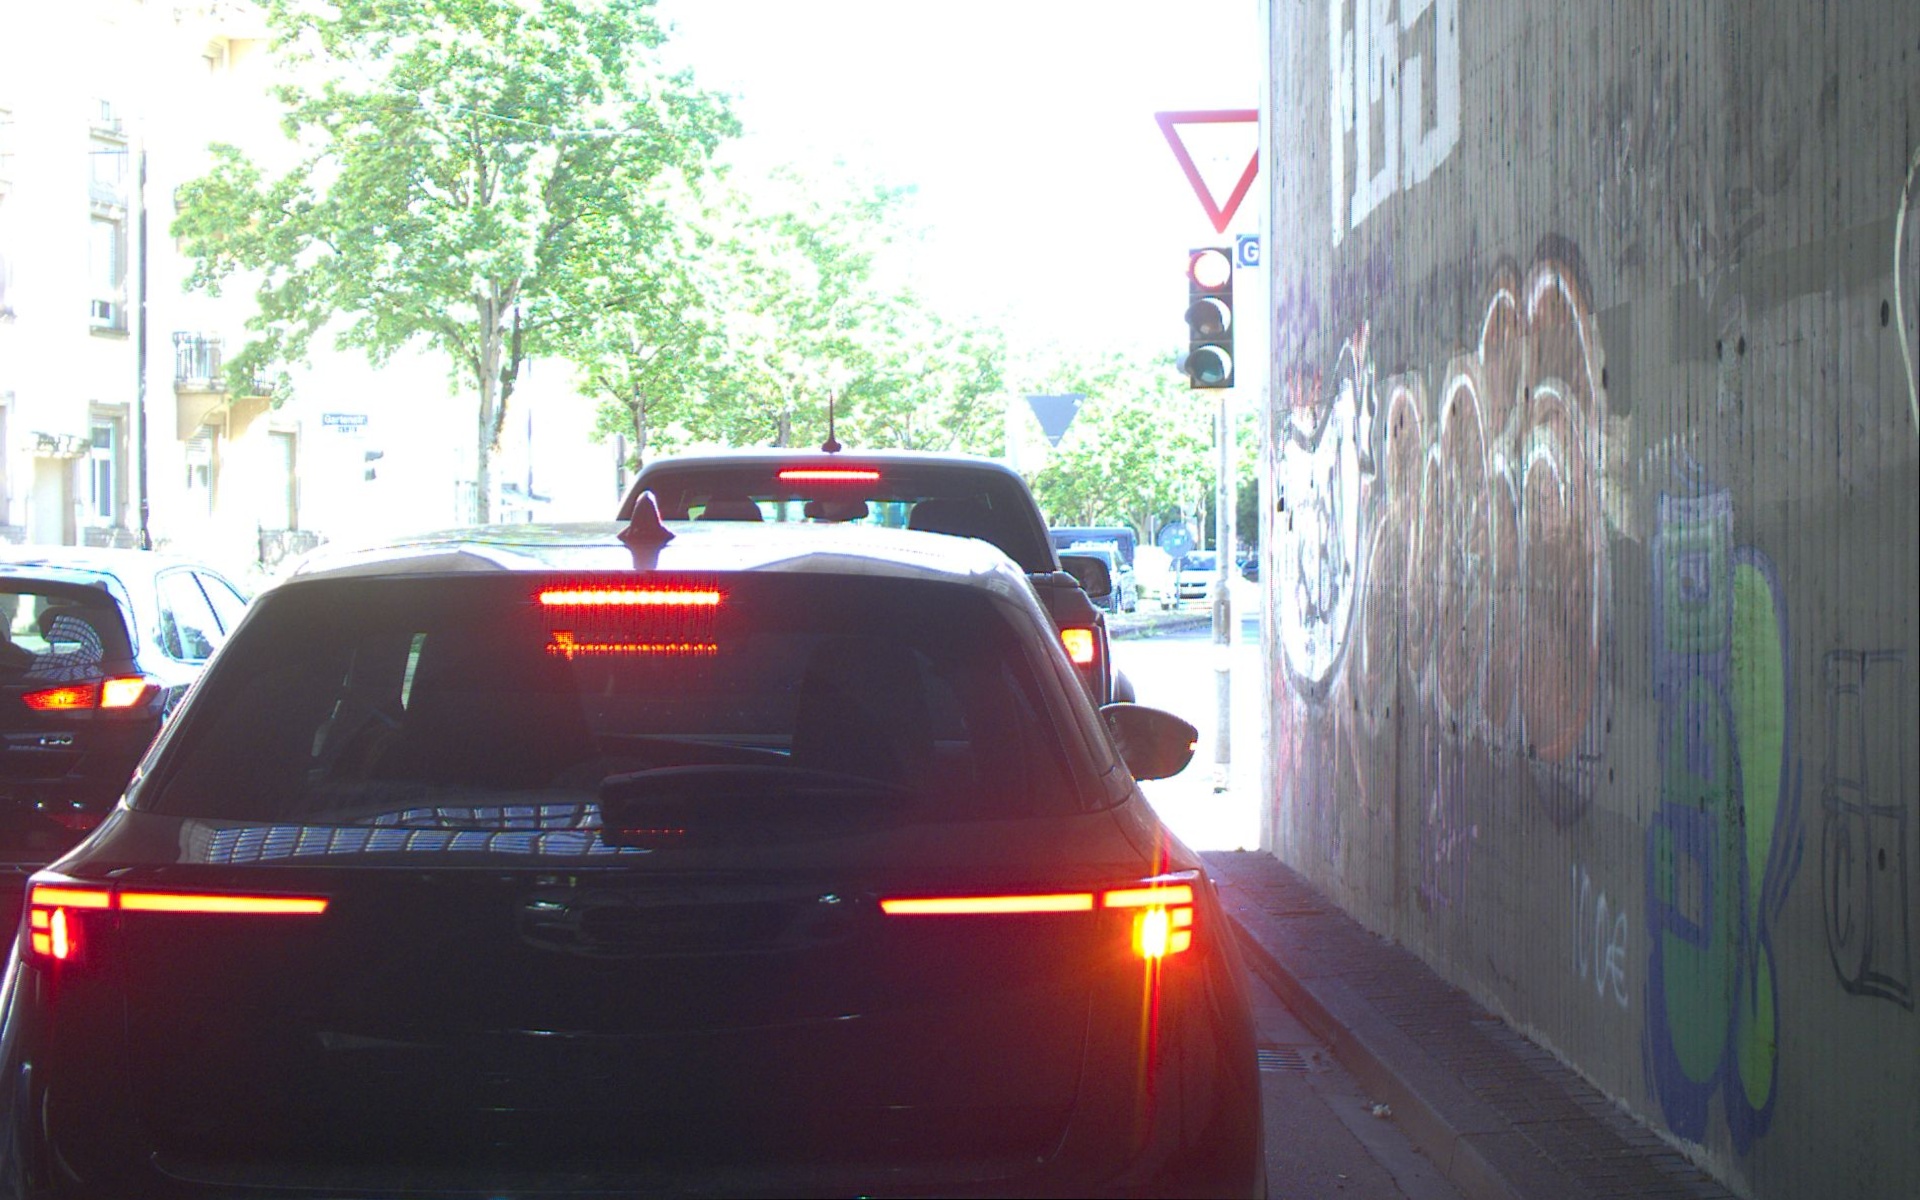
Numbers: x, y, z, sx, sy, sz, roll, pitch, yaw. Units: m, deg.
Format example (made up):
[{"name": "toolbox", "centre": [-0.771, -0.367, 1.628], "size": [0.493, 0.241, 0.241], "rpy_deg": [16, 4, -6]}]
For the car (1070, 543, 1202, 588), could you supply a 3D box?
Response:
[{"name": "car", "centre": [6.839, -1.338, 133.772], "size": [4.798, 1.661, 1.824], "rpy_deg": [1, 1, -21]}]

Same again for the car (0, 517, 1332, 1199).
[{"name": "car", "centre": [-0.468, 0.634, 6.098], "size": [1.762, 1.526, 4.089], "rpy_deg": [0, 1, -1]}]

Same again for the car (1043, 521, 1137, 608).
[{"name": "car", "centre": [2.609, -0.703, 68.312], "size": [1.754, 1.661, 3.944], "rpy_deg": [1, 1, 3]}]

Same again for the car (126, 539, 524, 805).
[{"name": "car", "centre": [-3.767, 0.368, 21.010], "size": [1.762, 1.475, 3.844], "rpy_deg": [0, 1, -1]}]

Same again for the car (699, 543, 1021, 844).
[{"name": "car", "centre": [-0.525, 0.435, 19.258], "size": [1.609, 1.508, 4.054], "rpy_deg": [0, 1, -1]}]

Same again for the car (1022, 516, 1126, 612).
[{"name": "car", "centre": [2.088, -0.650, 62.193], "size": [1.754, 1.661, 3.944], "rpy_deg": [1, 1, 3]}]

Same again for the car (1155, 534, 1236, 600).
[{"name": "car", "centre": [6.189, -0.868, 90.086], "size": [1.754, 1.661, 3.943], "rpy_deg": [1, 1, 9]}]

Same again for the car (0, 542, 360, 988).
[{"name": "car", "centre": [-3.517, 0.514, 13.286], "size": [1.762, 1.475, 3.844], "rpy_deg": [0, 1, -1]}]

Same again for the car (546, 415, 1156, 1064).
[{"name": "car", "centre": [-0.340, 0.372, 12.038], "size": [1.762, 1.876, 4.146], "rpy_deg": [0, 1, -1]}]
